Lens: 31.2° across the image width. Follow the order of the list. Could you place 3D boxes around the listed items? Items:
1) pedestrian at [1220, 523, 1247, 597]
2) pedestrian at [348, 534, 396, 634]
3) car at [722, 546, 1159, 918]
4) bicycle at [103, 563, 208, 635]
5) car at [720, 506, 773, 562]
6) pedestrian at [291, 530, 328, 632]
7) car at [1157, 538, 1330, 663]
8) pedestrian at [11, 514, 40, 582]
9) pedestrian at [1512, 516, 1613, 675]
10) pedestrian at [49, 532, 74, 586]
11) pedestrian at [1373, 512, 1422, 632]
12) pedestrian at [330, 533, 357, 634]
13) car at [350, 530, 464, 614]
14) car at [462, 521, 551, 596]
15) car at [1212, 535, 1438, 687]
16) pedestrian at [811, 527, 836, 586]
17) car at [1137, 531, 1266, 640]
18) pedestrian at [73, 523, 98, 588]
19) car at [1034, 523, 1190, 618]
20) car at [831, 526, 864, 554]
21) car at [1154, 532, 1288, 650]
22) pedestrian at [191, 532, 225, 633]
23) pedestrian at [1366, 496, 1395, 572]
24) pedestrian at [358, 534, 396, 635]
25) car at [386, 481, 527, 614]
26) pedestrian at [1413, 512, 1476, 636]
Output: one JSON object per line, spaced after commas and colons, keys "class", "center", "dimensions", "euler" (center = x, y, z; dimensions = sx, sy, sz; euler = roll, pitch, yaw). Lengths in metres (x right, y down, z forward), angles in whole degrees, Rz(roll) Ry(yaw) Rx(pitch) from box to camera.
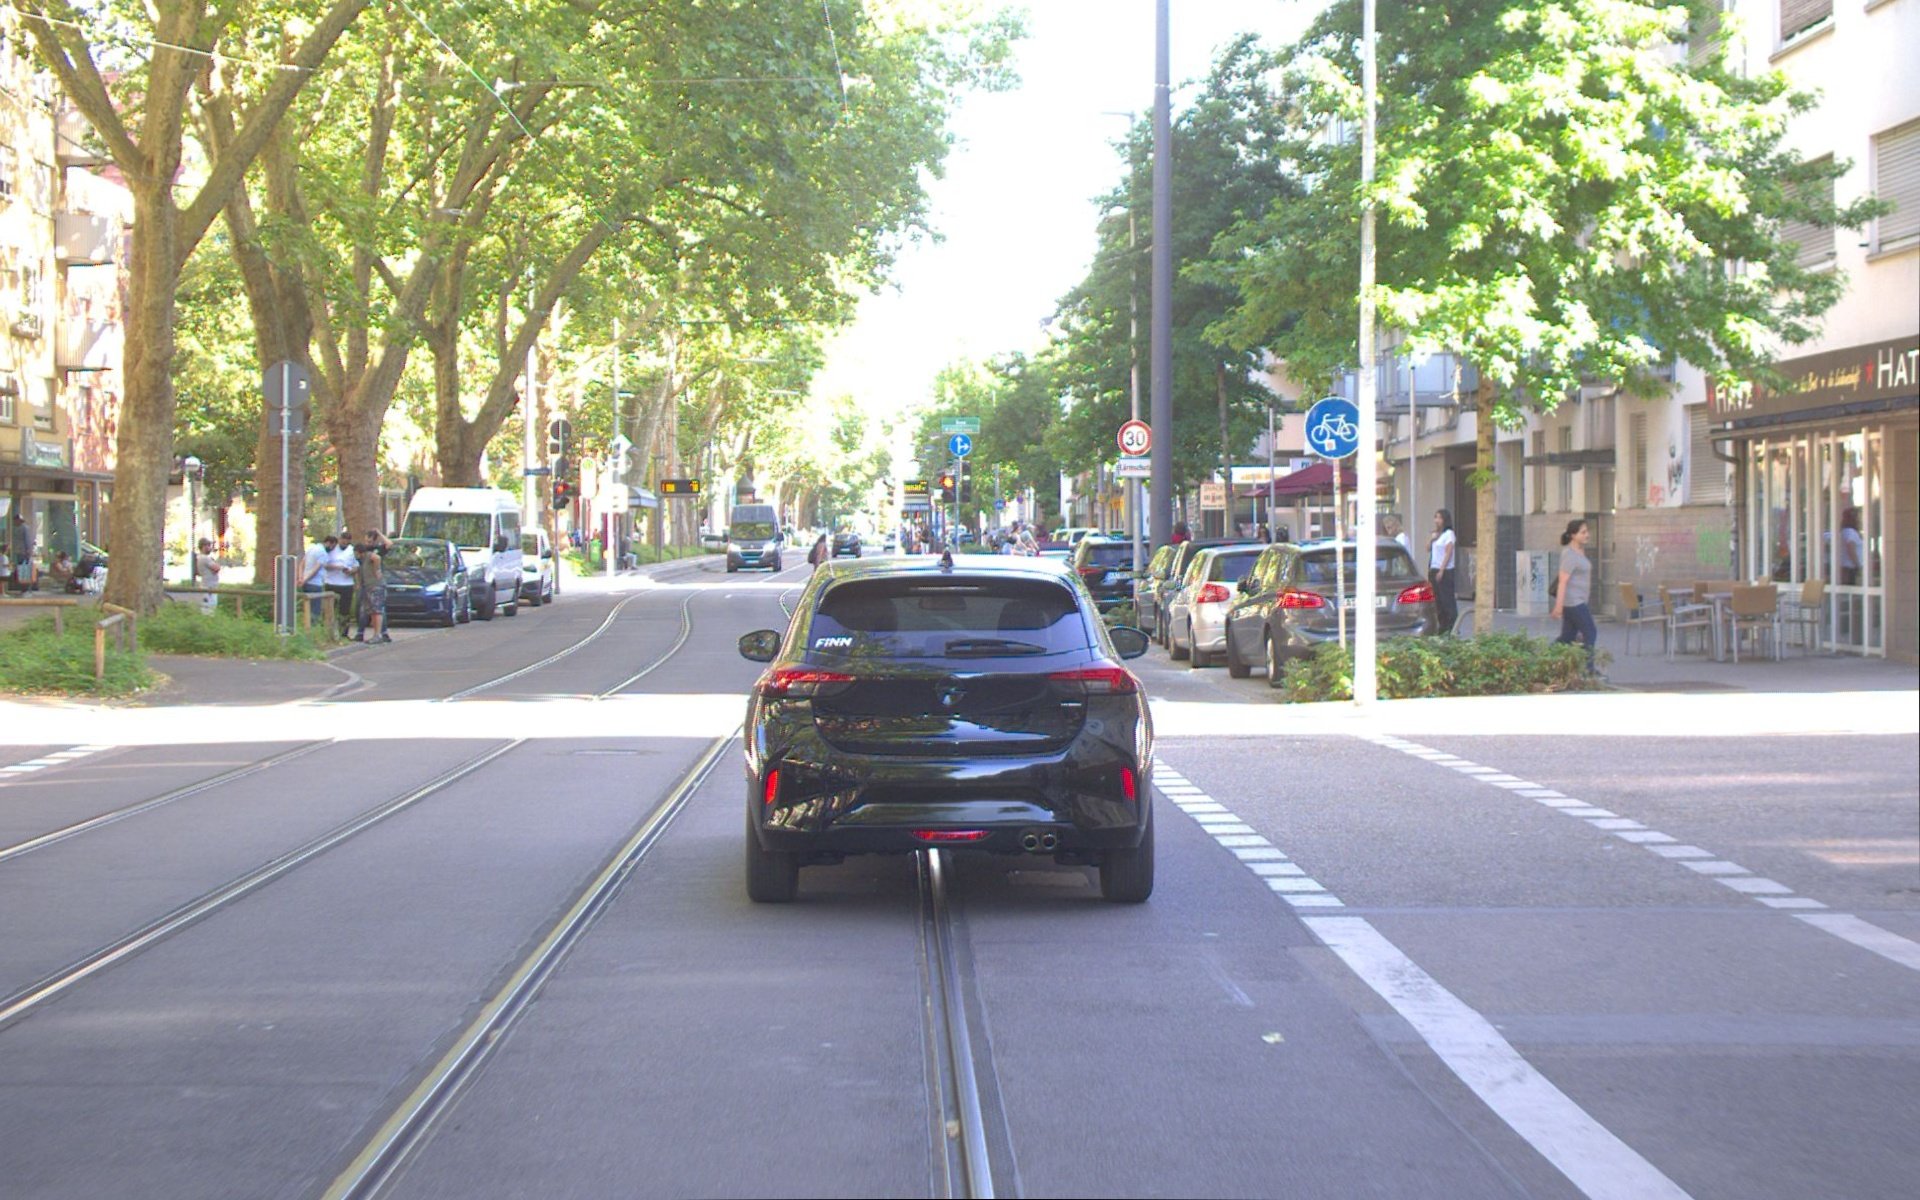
{"class": "pedestrian", "center": [6.409, -0.934, 80.637], "dimensions": [0.629, 1.727, 0.632], "euler": [0, 1, 4]}
{"class": "pedestrian", "center": [-9.326, -0.257, 54.501], "dimensions": [0.683, 1.577, 0.557], "euler": [0, 1, -3]}
{"class": "car", "center": [-0.124, 0.489, 15.308], "dimensions": [1.679, 1.417, 3.628], "euler": [2, 1, -1]}
{"class": "bicycle", "center": [-12.565, -0.020, 53.682], "dimensions": [1.693, 1.058, 0.452], "euler": [2, 0, 29]}
{"class": "car", "center": [-8.589, -2.659, 137.871], "dimensions": [1.993, 2.204, 5.103], "euler": [0, 1, -5]}
{"class": "pedestrian", "center": [-10.130, -0.305, 53.548], "dimensions": [0.506, 1.577, 0.527], "euler": [0, 1, -5]}
{"class": "car", "center": [3.528, -0.028, 43.265], "dimensions": [1.718, 1.485, 3.682], "euler": [0, 1, -3]}
{"class": "pedestrian", "center": [-21.922, -1.218, 80.635], "dimensions": [0.553, 1.577, 0.574], "euler": [0, 1, -5]}
{"class": "pedestrian", "center": [6.231, -0.056, 35.542], "dimensions": [0.856, 1.611, 0.769], "euler": [0, 1, 24]}
{"class": "pedestrian", "center": [-22.145, -1.012, 84.724], "dimensions": [0.506, 1.328, 0.527], "euler": [0, 1, -4]}
{"class": "pedestrian", "center": [6.043, -0.386, 47.500], "dimensions": [0.600, 1.646, 0.631], "euler": [0, 1, 1]}
{"class": "pedestrian", "center": [-9.658, -0.263, 53.835], "dimensions": [0.346, 1.577, 0.508], "euler": [0, 1, -3]}
{"class": "car", "center": [-10.165, -0.543, 63.402], "dimensions": [1.754, 1.503, 4.001], "euler": [0, 1, -4]}
{"class": "car", "center": [-10.562, -0.987, 80.284], "dimensions": [1.993, 1.711, 4.001], "euler": [0, 1, -6]}
{"class": "car", "center": [3.938, 0.078, 37.692], "dimensions": [1.718, 1.568, 4.085], "euler": [0, 1, -5]}
{"class": "pedestrian", "center": [-3.699, -1.176, 92.998], "dimensions": [0.594, 1.584, 0.893], "euler": [0, 1, -8]}
{"class": "car", "center": [3.568, -0.249, 51.310], "dimensions": [1.718, 1.568, 3.682], "euler": [0, 1, 1]}
{"class": "pedestrian", "center": [-21.474, -1.098, 84.451], "dimensions": [0.506, 1.577, 0.527], "euler": [0, 1, -4]}
{"class": "car", "center": [2.691, -0.553, 61.770], "dimensions": [1.993, 1.634, 4.001], "euler": [0, 1, -10]}
{"class": "car", "center": [-6.580, -3.513, 201.869], "dimensions": [1.750, 1.646, 4.000], "euler": [0, 1, 1]}
{"class": "car", "center": [3.571, -0.149, 47.437], "dimensions": [1.651, 1.568, 3.083], "euler": [0, 1, 1]}
{"class": "pedestrian", "center": [-11.825, -0.282, 54.072], "dimensions": [0.506, 1.577, 0.527], "euler": [0, 1, -12]}
{"class": "pedestrian", "center": [9.511, -1.498, 77.842], "dimensions": [0.629, 1.727, 0.632], "euler": [0, 1, 5]}
{"class": "pedestrian", "center": [-9.131, -0.244, 53.881], "dimensions": [0.506, 1.577, 0.527], "euler": [0, 1, -1]}
{"class": "car", "center": [-10.141, -1.086, 69.656], "dimensions": [2.092, 2.575, 5.997], "euler": [0, 1, -1]}
{"class": "pedestrian", "center": [6.858, -0.372, 48.669], "dimensions": [0.793, 1.742, 0.770], "euler": [0, 1, 2]}
